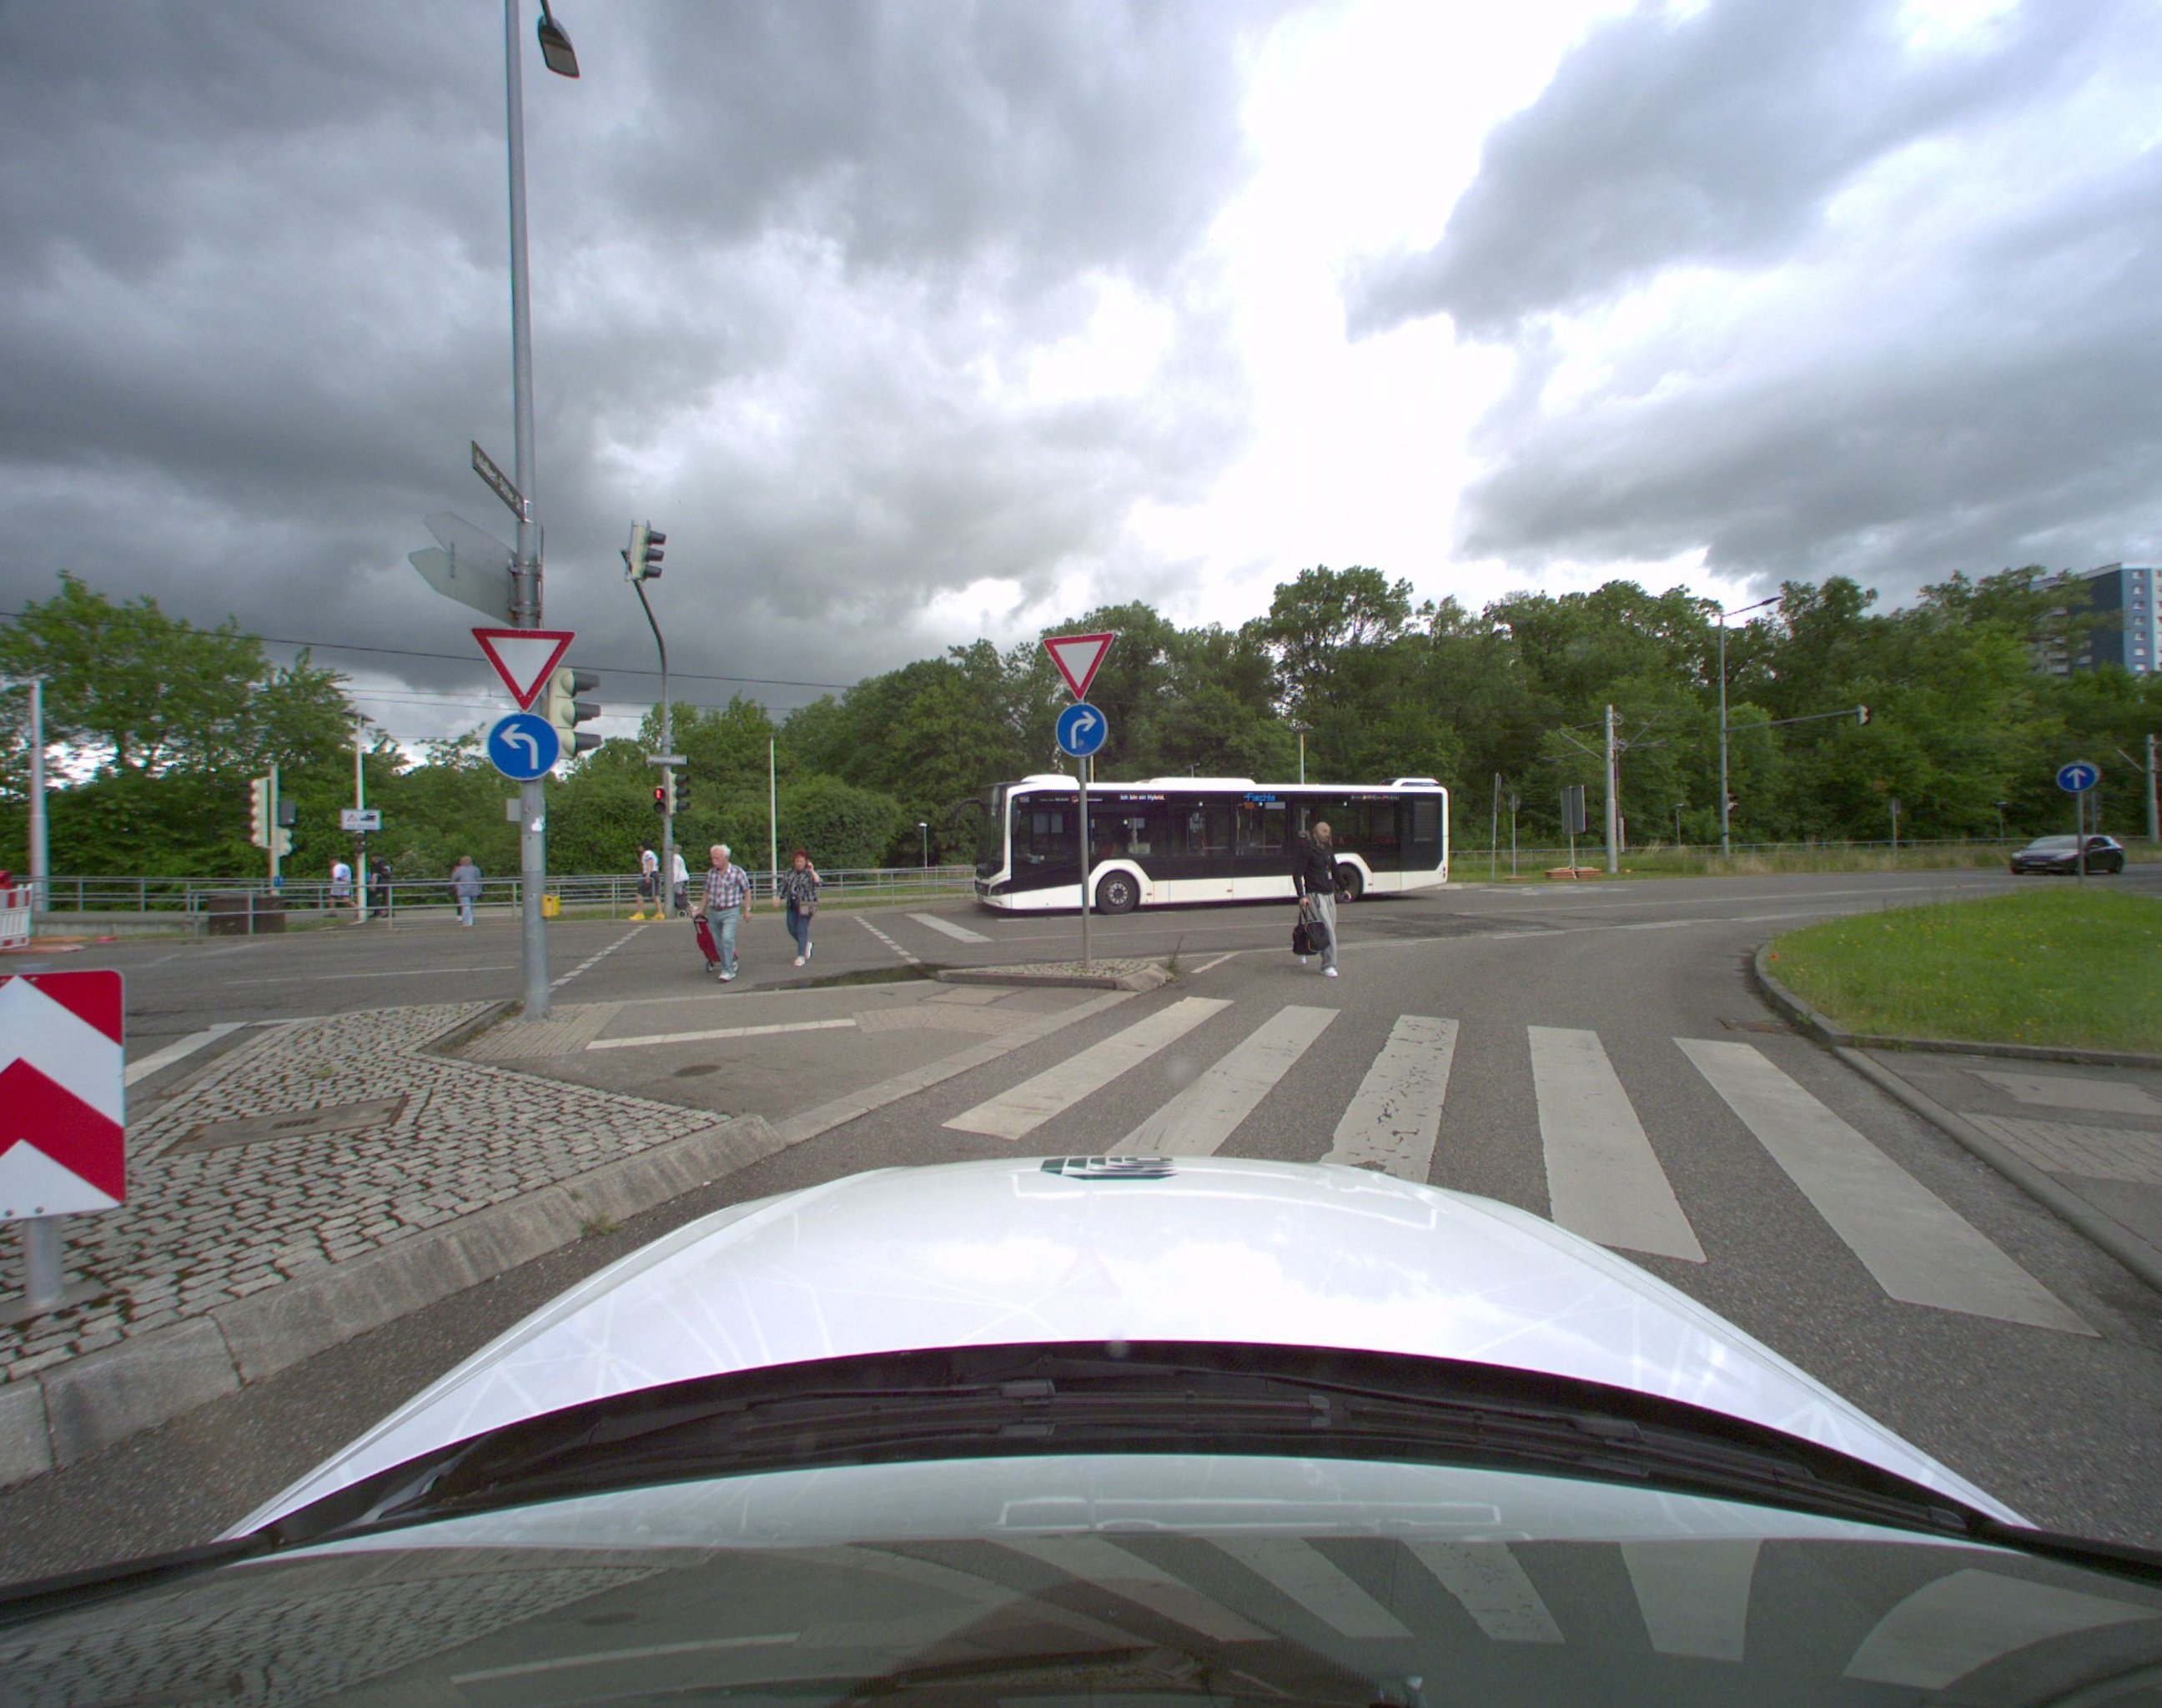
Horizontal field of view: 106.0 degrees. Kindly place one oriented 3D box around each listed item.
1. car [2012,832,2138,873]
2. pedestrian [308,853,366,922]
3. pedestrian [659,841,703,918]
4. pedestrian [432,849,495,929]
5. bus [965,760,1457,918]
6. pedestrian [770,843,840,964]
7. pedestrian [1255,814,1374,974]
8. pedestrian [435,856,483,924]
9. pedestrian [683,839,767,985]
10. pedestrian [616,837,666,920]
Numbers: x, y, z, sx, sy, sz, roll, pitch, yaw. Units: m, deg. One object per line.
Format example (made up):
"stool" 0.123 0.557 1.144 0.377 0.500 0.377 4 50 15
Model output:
"car" 37.006 -0.074 30.313 4.431 1.434 1.748 -1 0 -22
"pedestrian" -19.477 0.858 21.323 0.946 1.747 0.726 -1 0 19
"pedestrian" -9.282 0.572 18.933 0.721 1.747 0.953 -1 0 -15
"pedestrian" -14.063 0.778 18.566 0.957 1.747 0.718 -1 0 -19
"bus" 3.464 -0.418 19.981 12.202 3.203 2.657 -1 0 -21
"pedestrian" -3.732 0.648 11.049 0.688 1.567 0.732 -1 0 -2
"pedestrian" 2.696 0.438 9.525 0.954 1.747 1.058 -1 0 -10
"pedestrian" -15.145 0.857 19.850 0.723 1.621 0.800 -1 0 -21
"pedestrian" -4.207 0.657 9.668 0.696 1.633 0.720 -2 0 -9
"pedestrian" -9.531 0.517 17.672 0.721 1.747 0.953 -1 0 -15
